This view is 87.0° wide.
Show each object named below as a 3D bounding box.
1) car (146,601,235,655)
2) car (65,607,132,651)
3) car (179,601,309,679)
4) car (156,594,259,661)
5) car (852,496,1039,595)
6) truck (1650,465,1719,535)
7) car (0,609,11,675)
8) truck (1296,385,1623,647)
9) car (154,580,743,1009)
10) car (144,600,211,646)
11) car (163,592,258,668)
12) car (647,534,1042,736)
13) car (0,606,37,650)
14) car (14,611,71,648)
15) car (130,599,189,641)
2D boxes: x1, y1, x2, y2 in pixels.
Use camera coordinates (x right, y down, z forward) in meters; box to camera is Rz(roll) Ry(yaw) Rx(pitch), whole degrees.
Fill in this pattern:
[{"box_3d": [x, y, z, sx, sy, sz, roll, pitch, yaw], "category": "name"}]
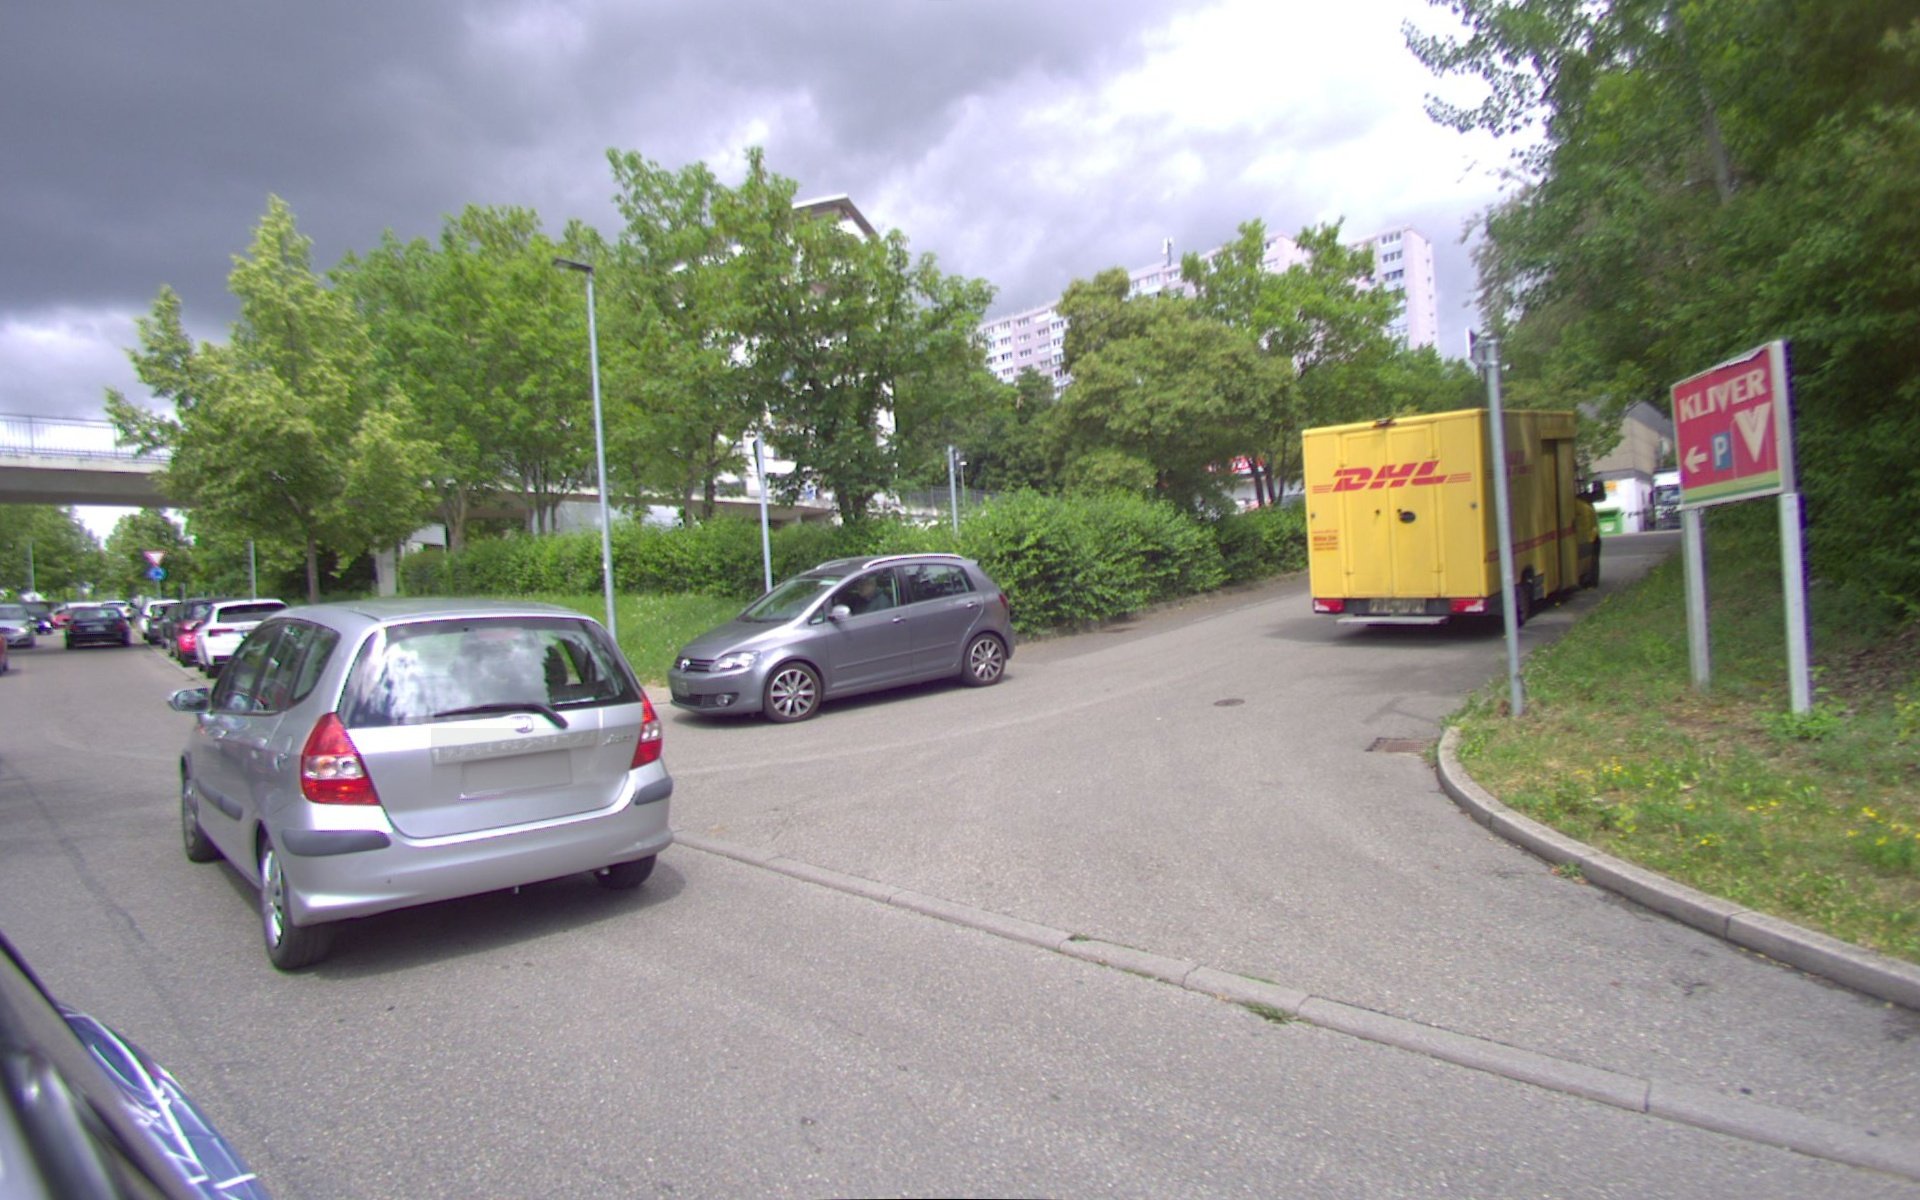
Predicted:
[{"box_3d": [-24.480, 0.832, 32.125, 1.787, 1.491, 4.491, -4, 3, -42], "category": "car"}, {"box_3d": [-30.808, 1.006, 36.195, 1.730, 1.430, 4.374, -1, 0, -41], "category": "car"}, {"box_3d": [-15.060, 0.749, 21.196, 1.786, 1.415, 4.054, -2, 1, -41], "category": "car"}, {"box_3d": [-20.626, 0.712, 27.687, 1.787, 1.596, 3.990, -5, 3, -42], "category": "car"}, {"box_3d": [-0.259, -1.286, 23.295, 2.001, 1.872, 3.945, 0, 7, 44], "category": "car"}, {"box_3d": [42.483, -5.847, 59.227, 2.579, 3.720, 7.237, -1, 4, 41], "category": "truck"}, {"box_3d": [-22.560, 0.972, 22.546, 1.834, 1.453, 4.006, -3, 1, -41], "category": "car"}, {"box_3d": [7.213, -1.206, 14.071, 2.233, 2.828, 6.481, -1, 5, 43], "category": "truck"}, {"box_3d": [-2.952, 0.662, 5.458, 1.820, 1.466, 3.655, -2, 1, -44], "category": "car"}, {"box_3d": [-29.022, 0.799, 37.599, 1.785, 1.466, 3.869, -6, 3, -37], "category": "car"}, {"box_3d": [-18.160, 0.675, 24.496, 1.574, 1.596, 2.690, -7, 4, -40], "category": "car"}, {"box_3d": [-1.189, 0.245, 11.504, 4.056, 1.673, 1.761, -7, 5, -39], "category": "car"}, {"box_3d": [-34.880, 1.006, 36.757, 1.753, 1.463, 4.007, -2, 1, -39], "category": "car"}, {"box_3d": [-45.089, 1.416, 49.715, 4.002, 1.430, 1.756, 4, 6, 44], "category": "car"}, {"box_3d": [-32.781, 0.782, 41.531, 1.785, 1.582, 3.730, -2, 1, -37], "category": "car"}]
